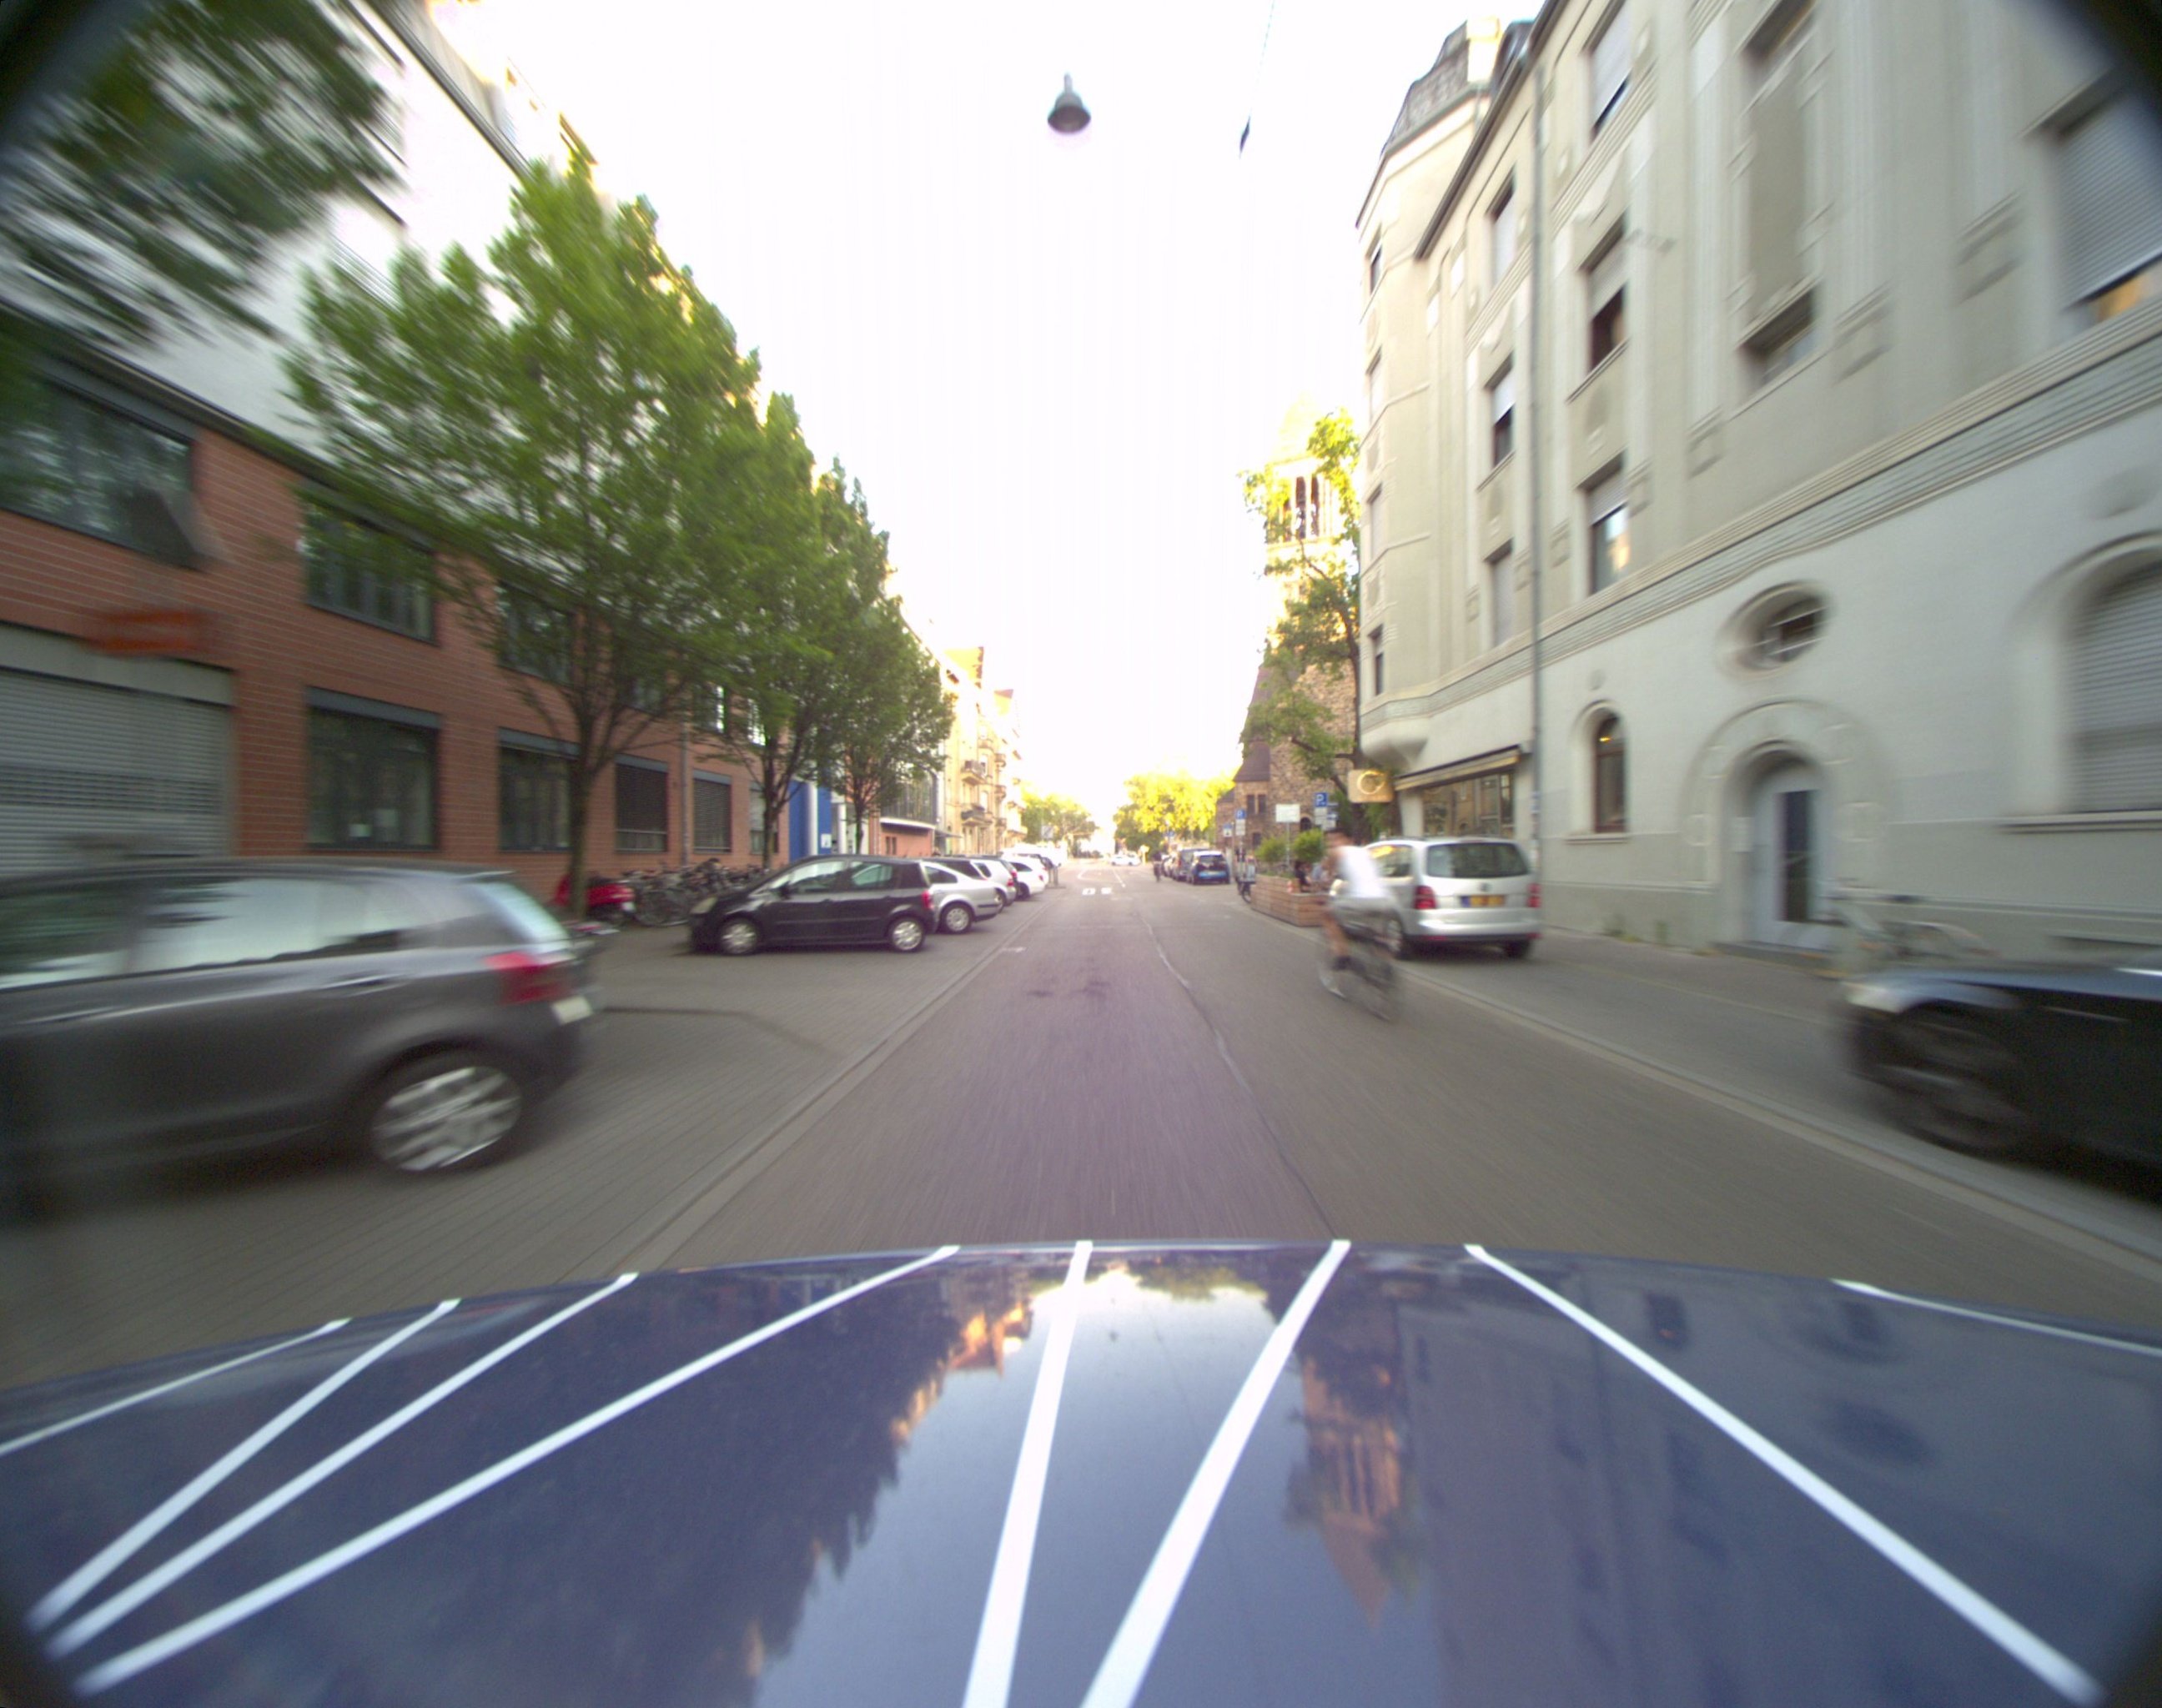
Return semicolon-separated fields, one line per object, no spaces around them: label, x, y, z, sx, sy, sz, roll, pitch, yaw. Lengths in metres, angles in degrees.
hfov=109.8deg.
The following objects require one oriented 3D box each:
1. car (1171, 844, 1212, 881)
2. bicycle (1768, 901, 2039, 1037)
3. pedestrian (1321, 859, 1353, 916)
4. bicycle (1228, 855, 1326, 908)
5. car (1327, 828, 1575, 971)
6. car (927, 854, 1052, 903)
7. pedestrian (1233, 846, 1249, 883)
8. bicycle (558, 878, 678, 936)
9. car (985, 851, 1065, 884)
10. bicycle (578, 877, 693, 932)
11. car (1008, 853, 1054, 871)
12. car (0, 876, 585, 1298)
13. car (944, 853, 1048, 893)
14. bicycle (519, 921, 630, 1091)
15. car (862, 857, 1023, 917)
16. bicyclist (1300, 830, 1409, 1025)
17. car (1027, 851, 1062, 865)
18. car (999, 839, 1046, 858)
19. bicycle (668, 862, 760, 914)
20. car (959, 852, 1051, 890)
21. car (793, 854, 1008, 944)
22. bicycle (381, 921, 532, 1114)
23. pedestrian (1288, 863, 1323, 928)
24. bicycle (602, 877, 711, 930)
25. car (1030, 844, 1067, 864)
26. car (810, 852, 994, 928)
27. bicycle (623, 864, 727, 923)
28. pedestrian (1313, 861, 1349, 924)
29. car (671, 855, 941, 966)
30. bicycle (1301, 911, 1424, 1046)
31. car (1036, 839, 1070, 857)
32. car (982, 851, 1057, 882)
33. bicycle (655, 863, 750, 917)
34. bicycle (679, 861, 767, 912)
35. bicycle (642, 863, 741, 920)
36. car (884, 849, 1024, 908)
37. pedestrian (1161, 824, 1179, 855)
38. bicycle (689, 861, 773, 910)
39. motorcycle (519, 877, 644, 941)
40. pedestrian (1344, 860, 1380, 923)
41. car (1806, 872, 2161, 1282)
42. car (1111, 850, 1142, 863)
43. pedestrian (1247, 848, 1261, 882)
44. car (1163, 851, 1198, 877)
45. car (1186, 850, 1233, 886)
car;6.022;0.418;41.868;1.785;1.860;4.458;-2;1;3
bicycle;7.472;0.981;7.055;0.477;0.938;1.896;-2;1;1
pedestrian;6.054;0.779;17.970;0.571;1.315;0.496;-2;1;1
bicycle;5.500;0.780;21.400;2.619;1.390;0.602;-2;1;15
car;5.019;0.535;10.966;1.730;1.638;3.917;-2;0;2
car;-3.104;0.840;25.987;3.841;1.510;1.673;1;1;-31
pedestrian;7.560;0.471;35.896;0.566;1.723;0.562;-2;1;1
bicycle;-8.401;0.956;13.844;1.769;0.921;0.546;3;1;-5
car;-2.881;0.666;38.919;3.837;1.510;1.675;2;1;-14
bicycle;-8.440;0.949;14.435;1.769;0.921;0.546;3;1;-5
car;-4.647;0.734;70.437;3.840;1.510;1.674;2;1;-26
car;-4.579;0.888;3.444;3.807;1.508;1.646;1;0;-31
car;-3.479;0.792;31.099;3.840;1.510;1.674;2;1;-26
bicycle;-4.049;1.151;6.163;0.577;1.058;1.382;-3;2;-28
car;-3.669;0.863;20.191;3.841;1.422;1.674;2;1;-28
bicyclist;2.518;0.633;7.094;0.624;1.682;1.003;-2;1;1
car;-4.346;0.446;90.636;3.842;1.510;1.673;1;1;-33
car;-5.204;-0.490;67.533;3.840;1.510;1.674;2;1;-26
bicycle;-8.467;0.784;17.574;1.769;1.094;0.546;3;1;-5
car;-3.415;0.751;33.926;3.837;1.510;1.675;2;1;-14
car;-3.570;0.849;15.122;3.841;1.557;1.673;2;1;-28
bicycle;-4.662;1.147;5.765;0.577;1.120;1.382;-3;2;-28
pedestrian;4.681;0.855;15.853;0.571;1.315;0.496;-2;1;1
bicycle;-8.392;0.980;15.055;1.769;0.921;0.546;3;1;-5
car;-3.995;0.008;93.748;4.202;2.280;1.673;1;1;-37
car;-4.166;0.813;17.738;3.841;1.557;1.674;2;1;-28
bicycle;-8.379;0.820;15.733;1.769;1.094;0.546;3;1;-5
pedestrian;5.375;0.825;16.352;0.571;1.315;0.496;-2;1;1
car;-4.355;0.870;12.367;3.839;1.557;1.674;2;1;-20
bicycle;2.611;1.110;7.255;0.477;0.938;1.896;-2;1;1
car;-3.761;-0.821;102.176;4.201;2.246;1.673;1;1;-33
car;-3.421;0.690;41.915;3.837;1.510;1.675;2;1;-14
bicycle;-8.415;0.799;16.930;1.769;1.094;0.546;3;1;-5
bicycle;-8.546;0.777;18.163;1.769;1.094;0.546;3;1;-5
bicycle;-8.358;0.805;16.337;1.769;1.094;0.546;3;1;-5
car;-3.839;0.733;22.964;3.840;1.639;1.674;2;1;-25
pedestrian;7.872;-1.283;67.184;1.445;2.725;1.012;-2;1;1
bicycle;-8.617;0.771;18.747;1.769;1.094;0.546;3;1;-5
motorcycle;-8.505;0.916;12.944;1.984;0.921;0.591;3;1;15
pedestrian;6.039;0.802;16.354;0.571;1.315;0.496;-2;1;1
car;4.864;0.831;1.873;1.932;1.422;4.481;-1;0;1
car;6.527;0.291;108.690;4.070;1.688;1.681;3;1;31
pedestrian;8.169;0.513;35.951;0.508;1.597;0.562;-2;1;1
car;6.422;0.630;49.195;1.786;1.537;4.000;-2;1;1
car;6.164;0.644;36.884;1.785;1.537;4.000;-2;1;3
